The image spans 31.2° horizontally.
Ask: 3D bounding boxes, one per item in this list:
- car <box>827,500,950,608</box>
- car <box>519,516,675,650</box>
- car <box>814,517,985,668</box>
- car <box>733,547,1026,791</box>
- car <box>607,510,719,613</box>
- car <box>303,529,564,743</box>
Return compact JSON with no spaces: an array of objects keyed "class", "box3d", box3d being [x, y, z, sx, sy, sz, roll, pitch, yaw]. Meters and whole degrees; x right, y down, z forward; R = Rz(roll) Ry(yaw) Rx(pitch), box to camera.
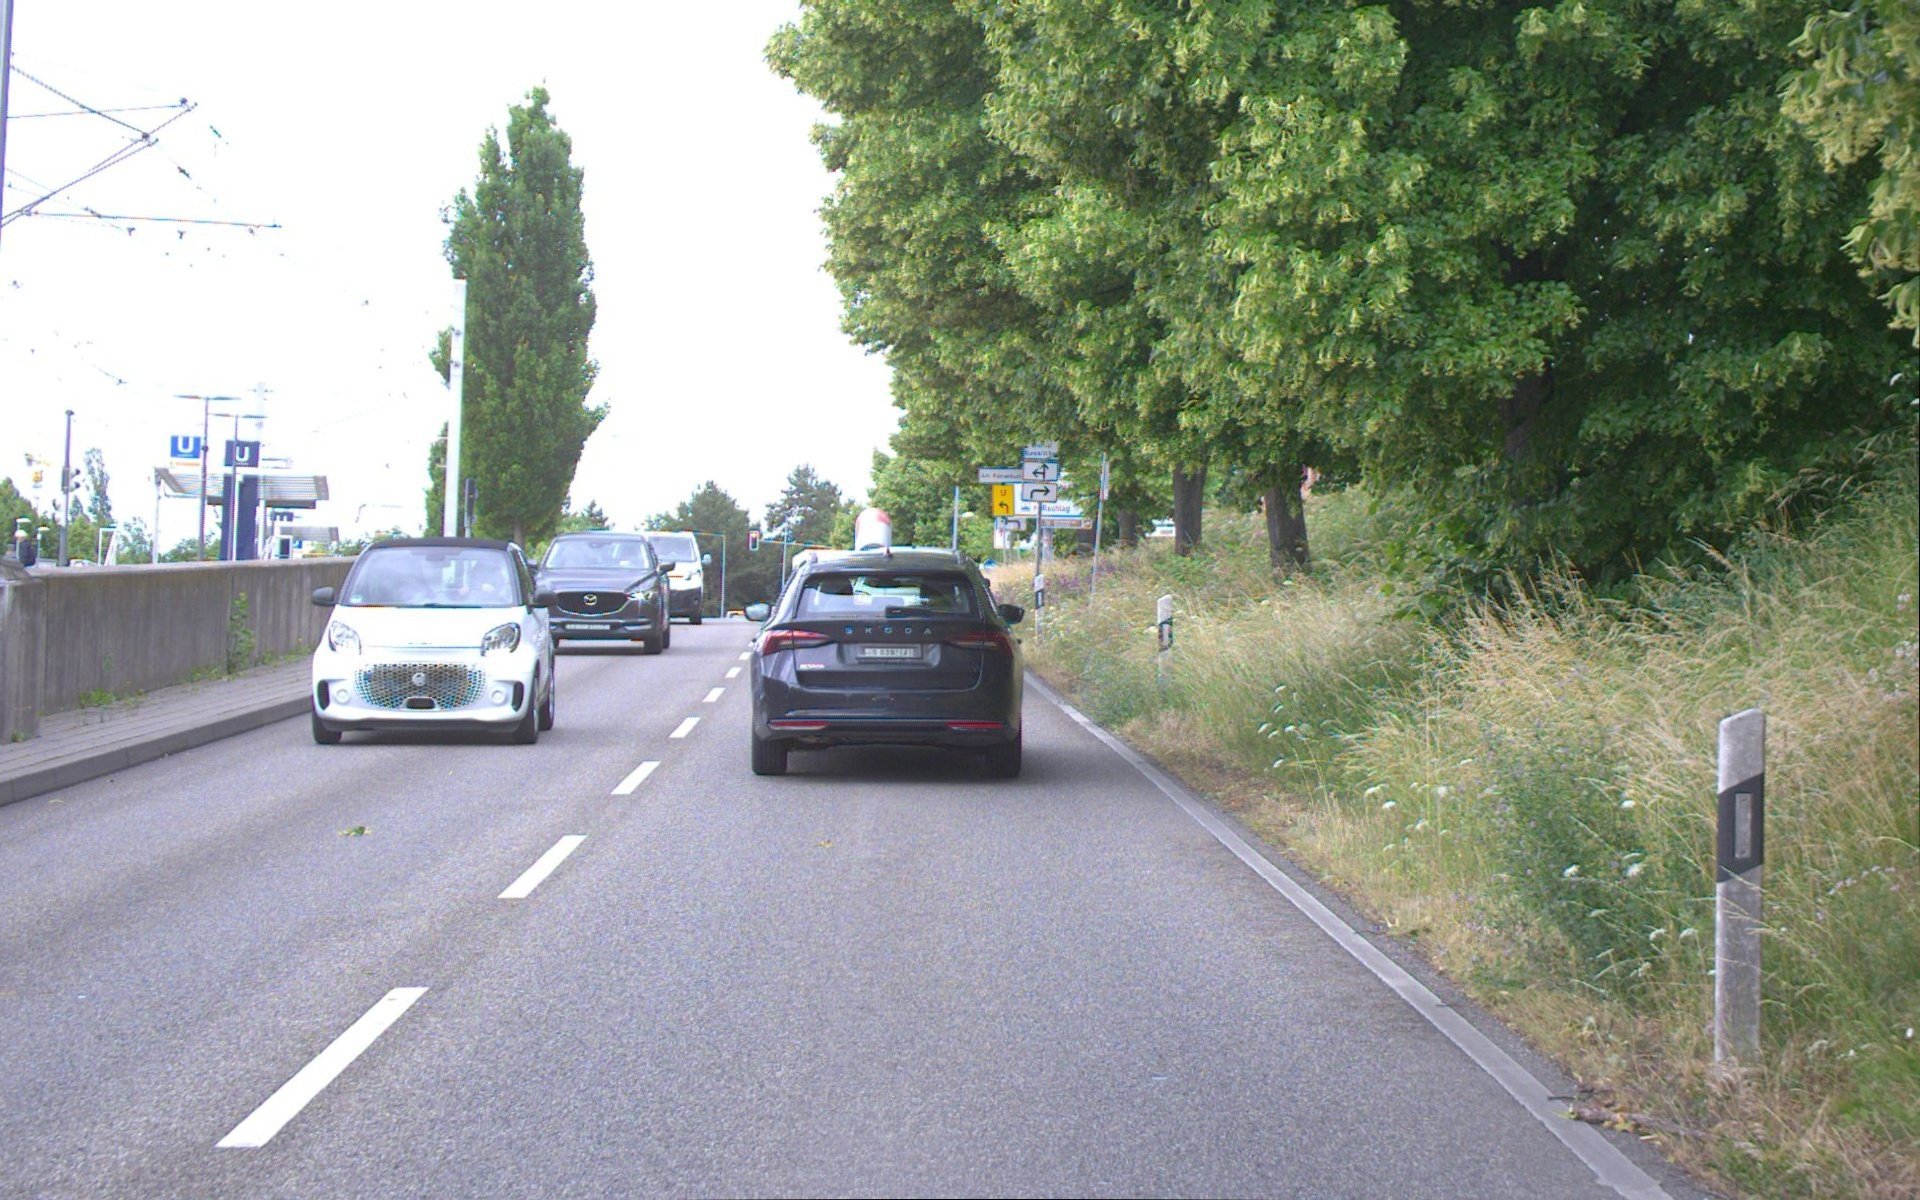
[{"class":"car","box3d":[-1.185,-0.757,57.845,1.993,1.734,4.000,1,0,-1]},{"class":"car","box3d":[-5.004,-0.260,47.844,1.910,1.762,4.307,0,1,-3]},{"class":"car","box3d":[-0.753,-0.122,42.649,1.993,1.747,4.000,1,1,-1]},{"class":"car","box3d":[-0.520,0.394,23.135,1.781,1.463,4.000,1,1,-1]},{"class":"car","box3d":[-5.969,-0.786,69.503,1.993,2.007,4.313,0,1,-2]},{"class":"car","box3d":[-4.103,0.221,27.312,1.731,1.566,4.001,0,1,-4]}]
